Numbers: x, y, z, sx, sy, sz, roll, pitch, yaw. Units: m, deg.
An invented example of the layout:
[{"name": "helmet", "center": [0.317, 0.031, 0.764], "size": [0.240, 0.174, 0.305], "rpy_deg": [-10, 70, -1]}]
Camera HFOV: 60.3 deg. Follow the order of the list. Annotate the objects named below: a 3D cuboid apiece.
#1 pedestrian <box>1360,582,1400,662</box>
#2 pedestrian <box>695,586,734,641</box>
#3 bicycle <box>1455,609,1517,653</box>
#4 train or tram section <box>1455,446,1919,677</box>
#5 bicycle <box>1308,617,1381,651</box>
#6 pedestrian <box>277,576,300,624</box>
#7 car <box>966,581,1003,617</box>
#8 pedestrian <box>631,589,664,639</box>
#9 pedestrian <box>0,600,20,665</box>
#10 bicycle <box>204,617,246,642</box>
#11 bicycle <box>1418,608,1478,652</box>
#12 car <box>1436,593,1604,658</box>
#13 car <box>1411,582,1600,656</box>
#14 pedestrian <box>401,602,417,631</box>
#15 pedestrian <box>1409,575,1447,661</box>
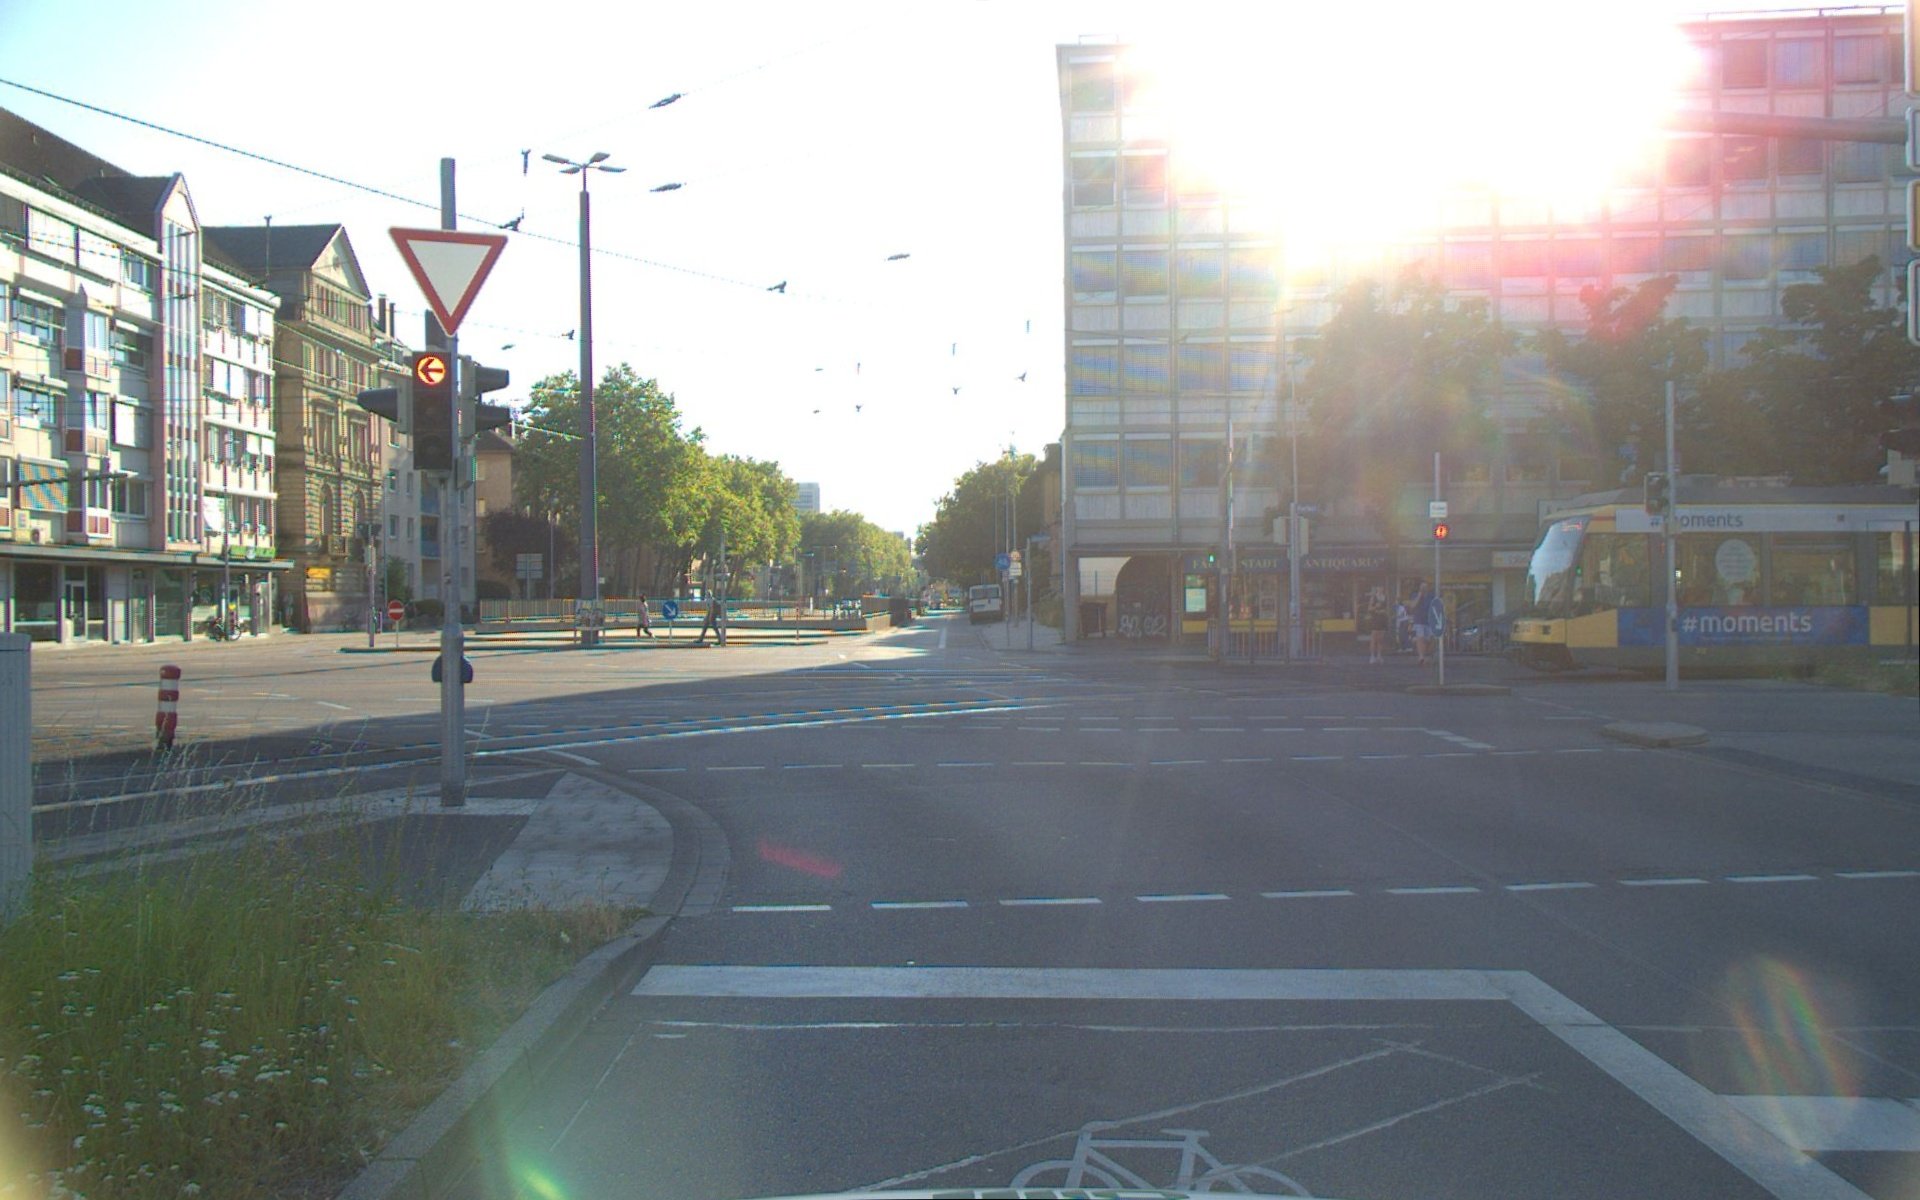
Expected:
[{"name": "pedestrian", "center": [9.184, 0.481, 36.182], "size": [0.680, 1.712, 1.042], "rpy_deg": [1, 0, 5]}, {"name": "pedestrian", "center": [-8.000, 0.451, 53.981], "size": [1.171, 1.761, 0.855], "rpy_deg": [1, -1, -5]}, {"name": "bicycle", "center": [15.763, 0.908, 49.606], "size": [0.735, 1.163, 2.638], "rpy_deg": [1, 2, -6]}, {"name": "train or tram section", "center": [16.157, -0.708, 30.435], "size": [13.056, 3.901, 3.712], "rpy_deg": [-1, 0, -5]}, {"name": "bicycle", "center": [11.232, 0.999, 48.370], "size": [1.983, 0.957, 0.671], "rpy_deg": [1, 0, -2]}, {"name": "pedestrian", "center": [-34.540, -0.003, 85.066], "size": [0.910, 2.440, 0.958], "rpy_deg": [1, -1, -11]}, {"name": "car", "center": [1.570, -0.056, 103.934], "size": [2.238, 2.210, 4.834], "rpy_deg": [1, 0, 1]}, {"name": "pedestrian", "center": [-9.818, 0.448, 52.013], "size": [0.844, 1.491, 0.679], "rpy_deg": [1, -6, -30]}, {"name": "pedestrian", "center": [-30.290, 0.996, 51.794], "size": [1.171, 1.914, 0.856], "rpy_deg": [1, 8, -5]}, {"name": "bicycle", "center": [-32.431, 1.293, 73.024], "size": [0.441, 1.089, 2.093], "rpy_deg": [1, 0, 16]}, {"name": "bicycle", "center": [14.592, 0.879, 49.542], "size": [0.735, 1.163, 2.638], "rpy_deg": [1, 2, -6]}, {"name": "car", "center": [15.132, 0.678, 44.836], "size": [3.982, 1.646, 1.845], "rpy_deg": [1, 0, 4]}, {"name": "car", "center": [12.861, 0.446, 39.193], "size": [3.903, 1.646, 1.845], "rpy_deg": [1, 0, 4]}, {"name": "pedestrian", "center": [-32.386, 0.968, 97.222], "size": [0.681, 1.725, 0.724], "rpy_deg": [1, -1, -1]}, {"name": "pedestrian", "center": [10.063, 0.386, 35.583], "size": [0.680, 1.824, 1.043], "rpy_deg": [1, -1, 11]}]
